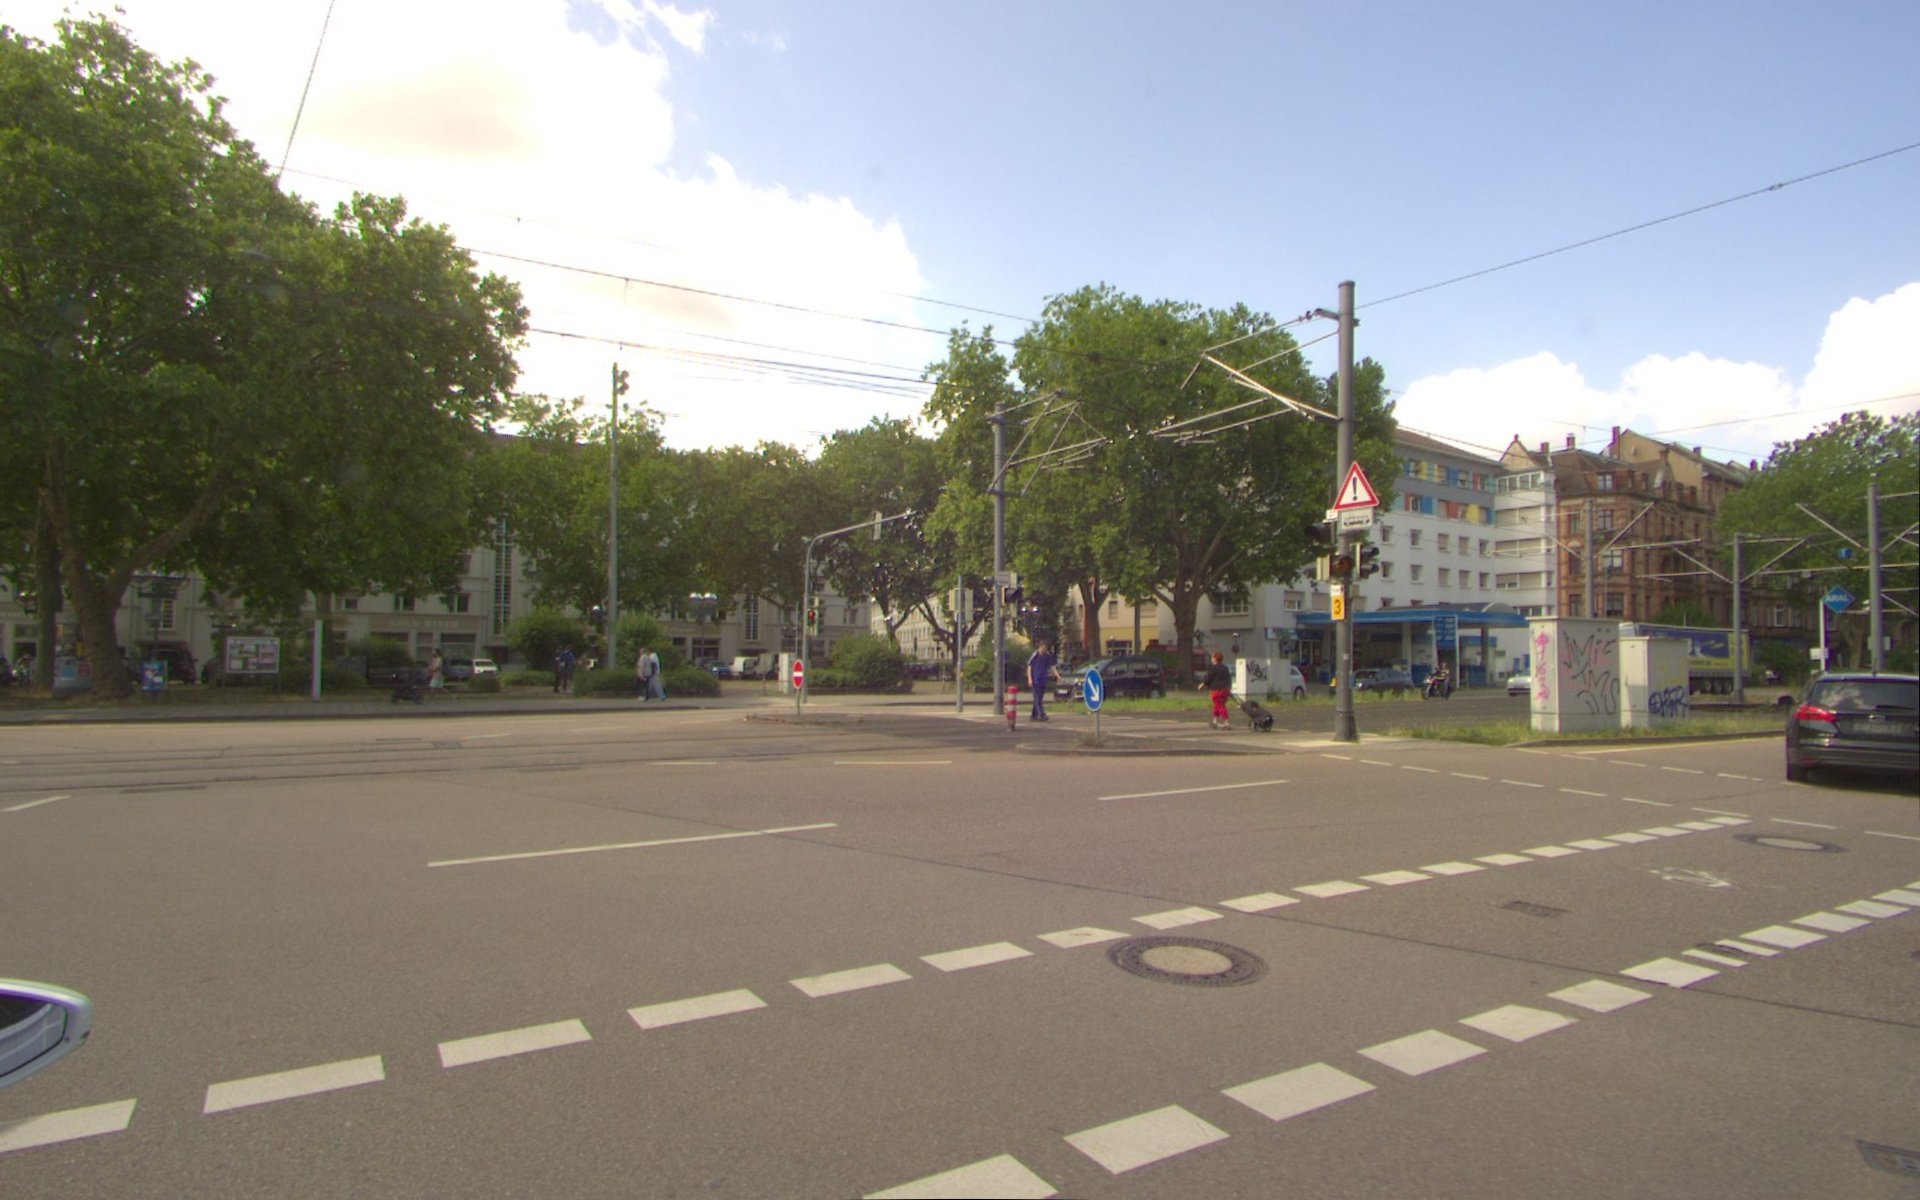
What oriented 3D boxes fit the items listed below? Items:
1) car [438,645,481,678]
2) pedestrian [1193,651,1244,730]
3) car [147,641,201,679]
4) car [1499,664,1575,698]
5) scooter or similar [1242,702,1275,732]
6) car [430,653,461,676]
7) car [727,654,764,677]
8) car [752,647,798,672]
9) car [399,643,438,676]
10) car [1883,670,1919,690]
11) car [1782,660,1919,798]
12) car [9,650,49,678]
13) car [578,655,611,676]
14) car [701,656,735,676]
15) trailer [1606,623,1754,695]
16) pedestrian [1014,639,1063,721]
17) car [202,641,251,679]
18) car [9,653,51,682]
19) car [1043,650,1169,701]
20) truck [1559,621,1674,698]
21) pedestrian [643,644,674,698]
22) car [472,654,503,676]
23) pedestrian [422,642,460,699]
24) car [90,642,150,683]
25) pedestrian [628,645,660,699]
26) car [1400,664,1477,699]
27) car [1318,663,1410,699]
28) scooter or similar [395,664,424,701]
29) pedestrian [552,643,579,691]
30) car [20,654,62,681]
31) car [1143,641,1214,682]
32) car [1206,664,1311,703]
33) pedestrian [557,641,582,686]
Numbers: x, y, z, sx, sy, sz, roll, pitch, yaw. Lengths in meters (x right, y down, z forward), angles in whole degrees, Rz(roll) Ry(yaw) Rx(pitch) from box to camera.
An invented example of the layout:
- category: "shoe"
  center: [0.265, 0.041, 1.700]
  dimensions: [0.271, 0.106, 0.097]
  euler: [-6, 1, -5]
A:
- category: "car"
  center: [-32.973, 4.048, 65.929]
  dimensions: [1.975, 2.038, 3.976]
  euler: [2, -4, -35]
- category: "pedestrian"
  center: [5.153, 1.789, 19.980]
  dimensions: [0.768, 1.510, 0.652]
  euler: [-1, -3, 44]
- category: "car"
  center: [-45.052, 3.439, 57.446]
  dimensions: [1.974, 2.101, 3.978]
  euler: [2, -4, -32]
- category: "car"
  center: [30.777, 4.320, 53.435]
  dimensions: [4.080, 1.726, 1.844]
  euler: [3, -3, -32]
- category: "scooter or similar"
  center: [5.793, 2.264, 19.419]
  dimensions: [0.516, 0.542, 0.308]
  euler: [0, -2, 45]
- category: "car"
  center: [-38.446, 4.832, 74.802]
  dimensions: [1.720, 1.657, 3.980]
  euler: [2, -4, -31]
- category: "car"
  center: [-18.840, 5.748, 87.905]
  dimensions: [1.973, 1.988, 3.980]
  euler: [2, -4, -31]
- category: "car"
  center: [-14.436, 4.646, 78.022]
  dimensions: [2.075, 1.928, 4.469]
  euler: [2, -4, -31]
- category: "car"
  center: [-35.110, 3.858, 64.878]
  dimensions: [1.973, 2.038, 3.980]
  euler: [2, -4, -32]
- category: "car"
  center: [79.195, 6.664, 83.923]
  dimensions: [3.947, 1.651, 1.794]
  euler: [2, -4, -33]
- category: "car"
  center: [12.416, 1.646, 13.644]
  dimensions: [1.764, 1.554, 4.353]
  euler: [1, -2, 41]
- category: "car"
  center: [-57.807, 3.996, 62.224]
  dimensions: [1.453, 1.686, 3.046]
  euler: [3, -4, -37]
- category: "car"
  center: [-29.441, 5.281, 80.588]
  dimensions: [1.720, 1.657, 3.980]
  euler: [2, -4, -31]
- category: "car"
  center: [-20.892, 5.674, 86.439]
  dimensions: [1.720, 1.657, 3.980]
  euler: [2, -4, -31]
- category: "trailer"
  center: [44.429, 3.656, 61.612]
  dimensions: [11.486, 4.127, 2.904]
  euler: [2, -3, -30]
- category: "pedestrian"
  center: [1.721, 1.752, 21.984]
  dimensions: [0.734, 1.752, 0.768]
  euler: [2, -3, -34]
- category: "car"
  center: [-42.823, 3.512, 58.503]
  dimensions: [1.974, 2.101, 3.978]
  euler: [2, -4, -32]
- category: "car"
  center: [-47.330, 3.423, 50.983]
  dimensions: [1.455, 1.406, 3.041]
  euler: [3, -5, -42]
- category: "car"
  center: [5.282, 2.704, 36.063]
  dimensions: [4.360, 1.748, 1.844]
  euler: [3, -3, -32]
- category: "truck"
  center: [37.960, 3.446, 57.863]
  dimensions: [6.497, 4.200, 2.904]
  euler: [2, -3, -30]
- category: "pedestrian"
  center: [-10.071, 2.364, 33.483]
  dimensions: [0.683, 1.786, 0.667]
  euler: [-1, -3, 33]
- category: "car"
  center: [-36.056, 4.933, 76.298]
  dimensions: [1.720, 1.657, 3.980]
  euler: [2, -4, -31]
- category: "pedestrian"
  center: [-15.515, 2.099, 29.933]
  dimensions: [0.910, 1.666, 0.567]
  euler: [2, -3, -32]
- category: "car"
  center: [-46.900, 3.483, 55.986]
  dimensions: [1.974, 2.209, 4.234]
  euler: [2, -4, -32]
- category: "pedestrian"
  center: [-10.375, 2.363, 32.864]
  dimensions: [0.683, 1.744, 0.716]
  euler: [-1, -3, 33]
- category: "car"
  center: [22.839, 3.885, 47.759]
  dimensions: [3.704, 1.582, 1.677]
  euler: [3, -3, -33]
- category: "car"
  center: [17.909, 3.553, 44.372]
  dimensions: [3.920, 1.464, 1.844]
  euler: [2, -3, -32]
- category: "scooter or similar"
  center: [-16.220, 2.427, 29.496]
  dimensions: [0.699, 1.069, 0.488]
  euler: [2, -3, -32]
- category: "pedestrian"
  center: [-15.025, 2.549, 38.173]
  dimensions: [0.597, 1.772, 0.695]
  euler: [-1, -3, 33]
- category: "car"
  center: [-49.558, 3.634, 54.041]
  dimensions: [1.454, 1.406, 3.210]
  euler: [3, -4, -40]
- category: "car"
  center: [13.394, 3.787, 61.403]
  dimensions: [3.947, 2.450, 2.101]
  euler: [2, -4, -33]
- category: "car"
  center: [12.064, 3.333, 40.380]
  dimensions: [4.271, 1.483, 1.724]
  euler: [3, -3, -33]
- category: "pedestrian"
  center: [-15.545, 2.522, 39.889]
  dimensions: [0.597, 1.772, 0.695]
  euler: [-1, -3, 33]
